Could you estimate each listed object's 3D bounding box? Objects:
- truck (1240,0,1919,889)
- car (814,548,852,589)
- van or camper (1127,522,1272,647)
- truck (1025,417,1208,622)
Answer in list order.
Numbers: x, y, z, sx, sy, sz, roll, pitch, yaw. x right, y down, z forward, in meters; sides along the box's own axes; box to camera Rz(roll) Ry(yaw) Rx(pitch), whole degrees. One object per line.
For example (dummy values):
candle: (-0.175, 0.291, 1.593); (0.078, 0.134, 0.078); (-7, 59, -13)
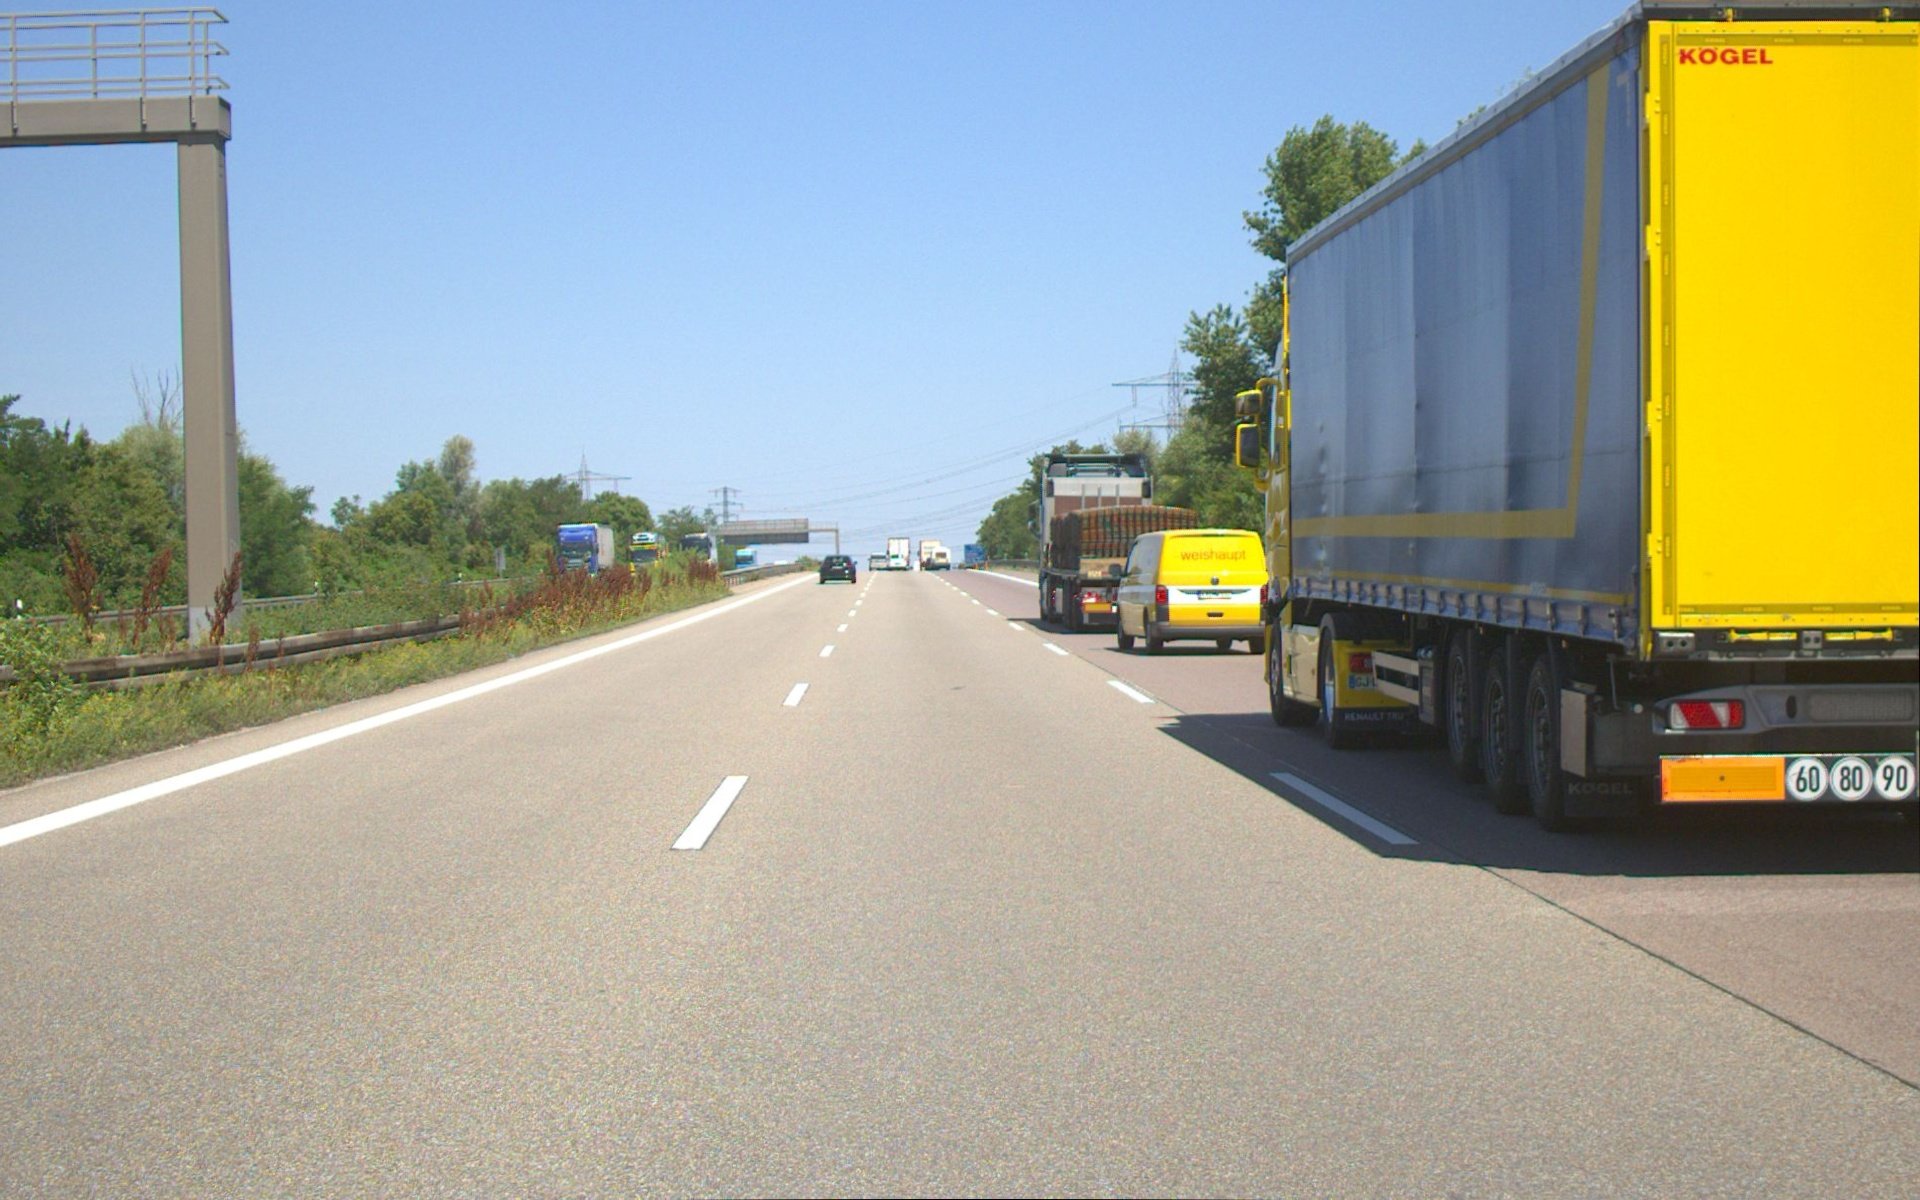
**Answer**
truck: (4.194, -0.911, 23.706); (2.845, 4.243, 16.792); (-1, 0, -1)
car: (-6.270, -1.565, 170.133); (1.791, 2.007, 3.887); (0, 0, -1)
van or camper: (3.751, -0.272, 54.560); (1.993, 1.903, 4.971); (0, 1, 0)
truck: (3.159, -1.584, 74.225); (2.969, 3.944, 16.614); (0, 0, -1)
